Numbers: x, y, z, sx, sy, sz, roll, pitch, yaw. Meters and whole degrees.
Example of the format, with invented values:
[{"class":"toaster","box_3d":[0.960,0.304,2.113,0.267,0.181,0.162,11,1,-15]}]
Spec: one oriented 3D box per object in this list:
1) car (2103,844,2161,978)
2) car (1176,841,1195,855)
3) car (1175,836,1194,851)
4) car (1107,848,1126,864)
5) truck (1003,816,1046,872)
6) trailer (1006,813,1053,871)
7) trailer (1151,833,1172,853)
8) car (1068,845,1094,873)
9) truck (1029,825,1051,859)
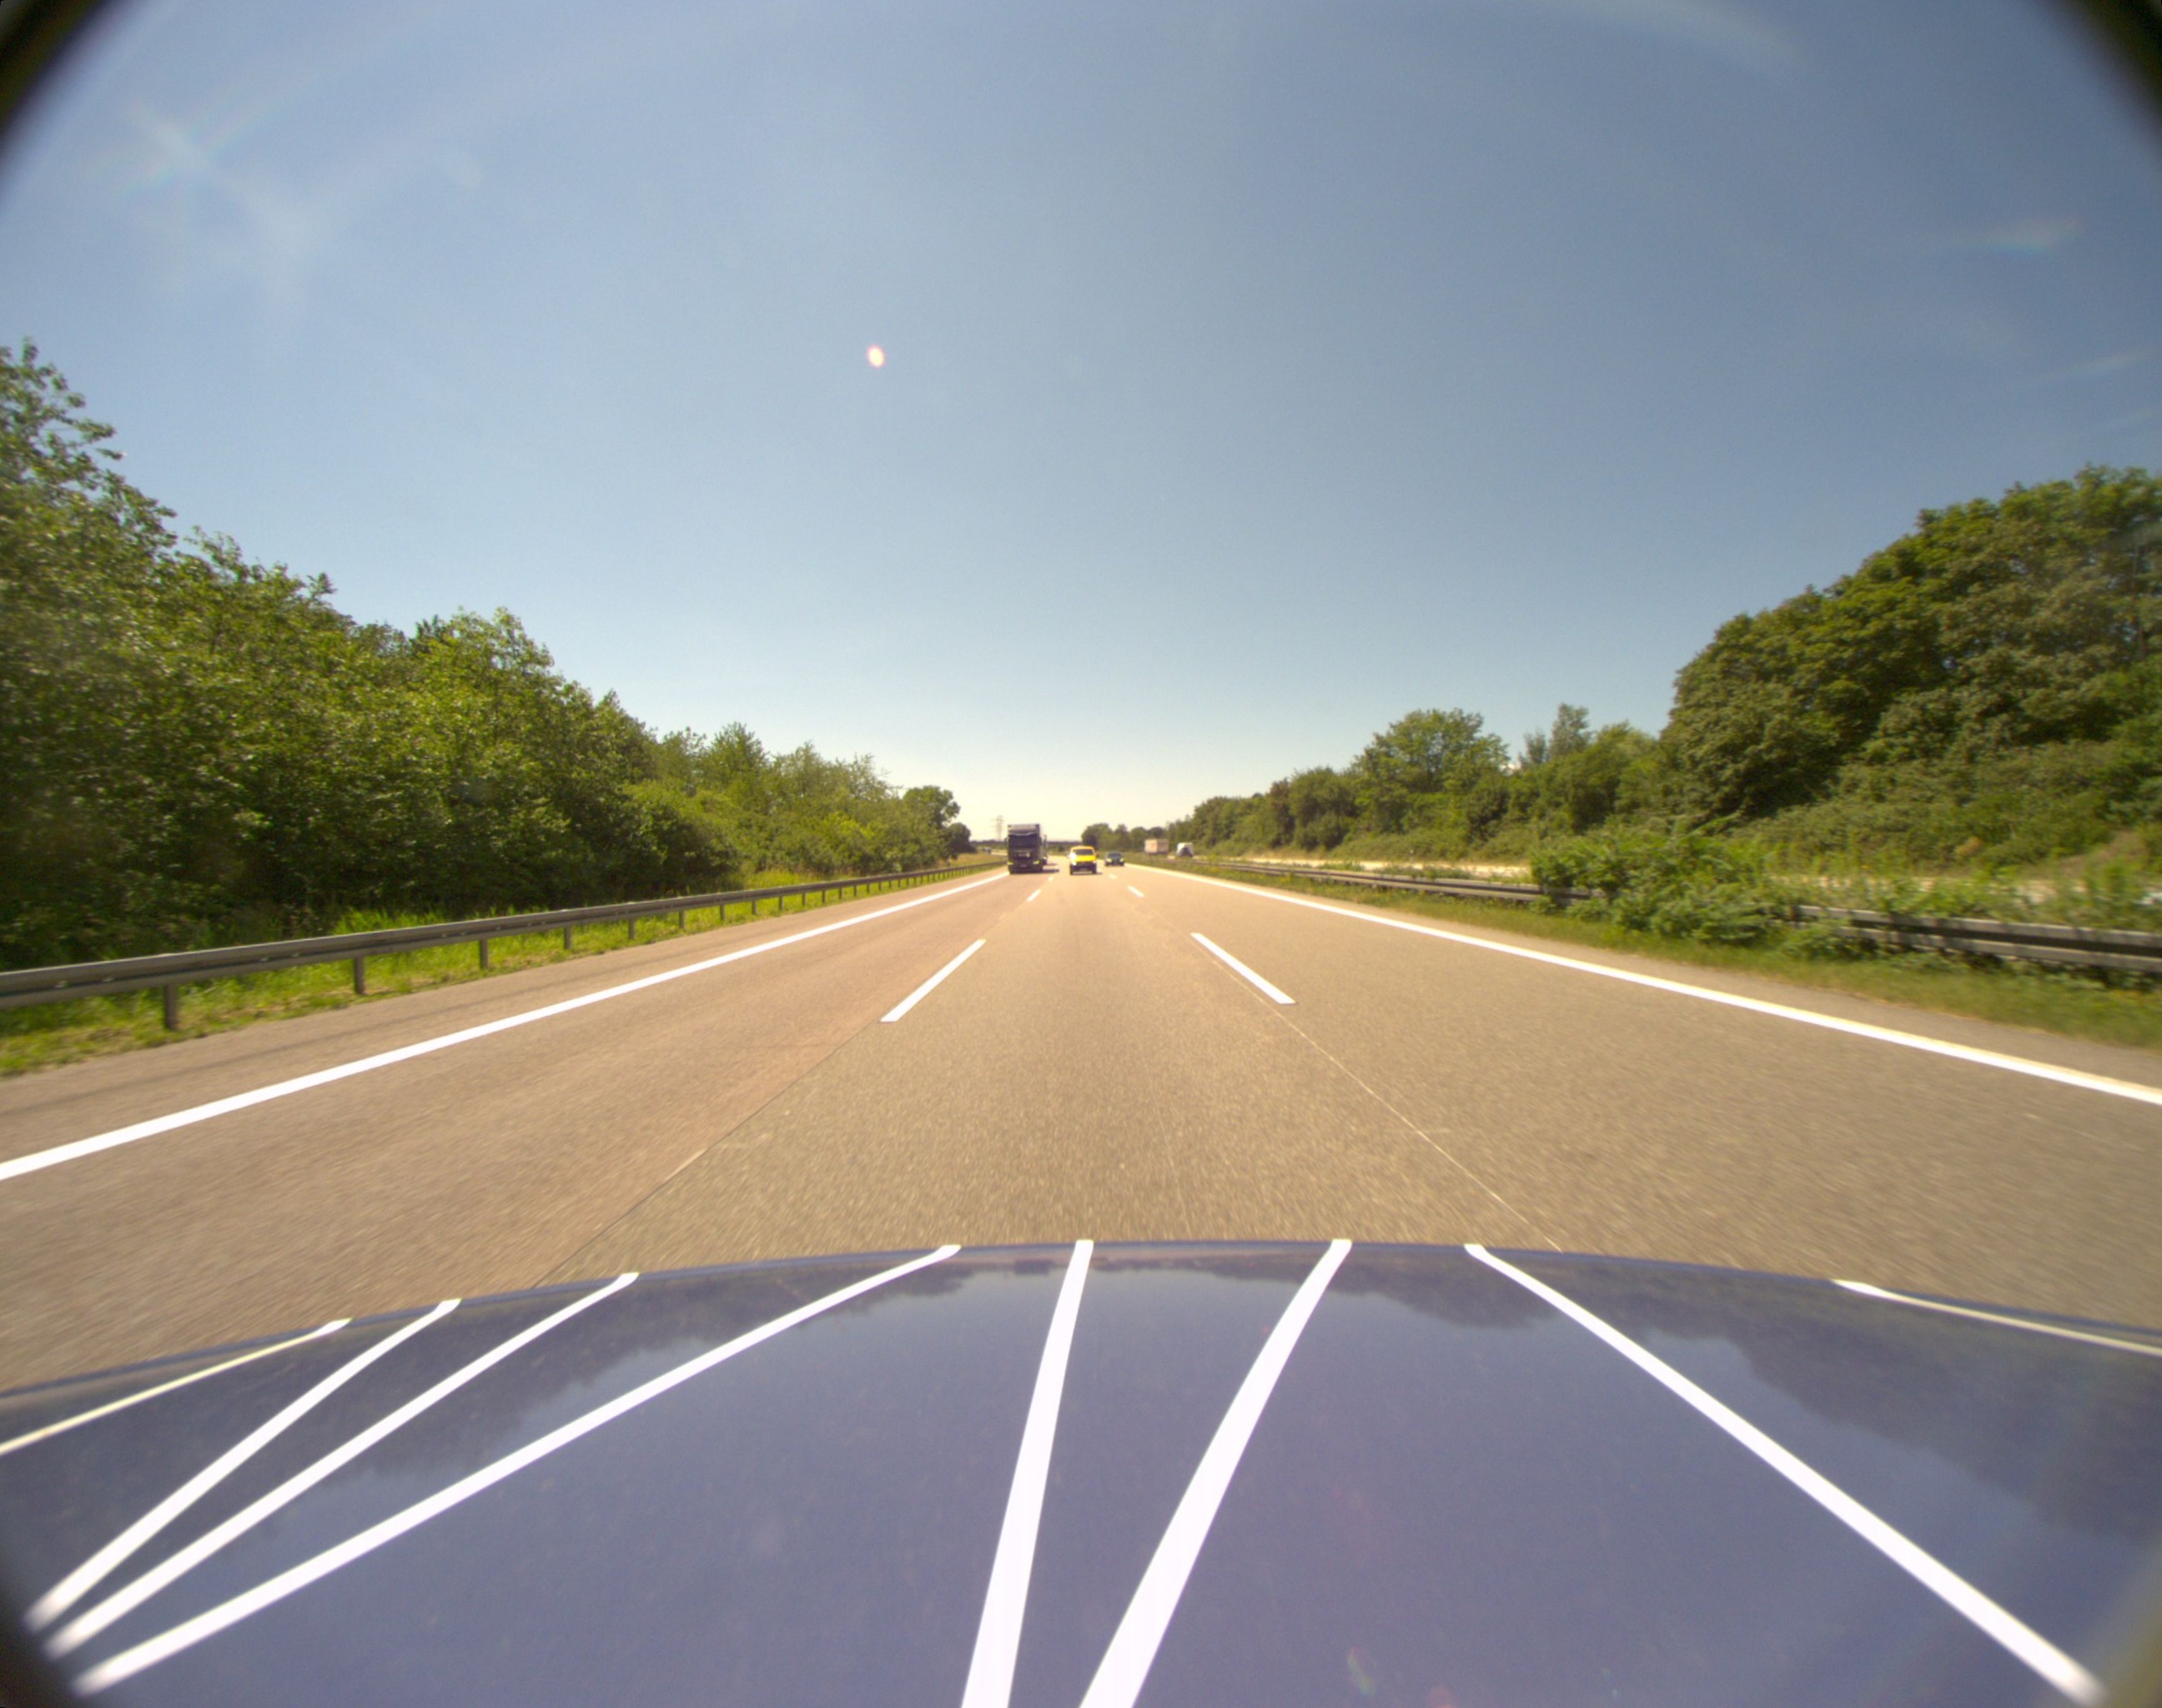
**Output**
[{"class":"car","box_3d":[13.129,0.653,6.924,1.767,1.504,4.393,-2,1,1]},{"class":"car","box_3d":[15.052,-0.819,109.748,1.831,1.895,4.955,-1,1,-1]},{"class":"car","box_3d":[18.102,-1.852,132.928,2.234,2.562,7.390,0,1,-1]},{"class":"car","box_3d":[3.601,0.198,77.489,1.726,1.478,3.999,-1,1,0]},{"class":"truck","box_3d":[-4.506,-0.767,61.188,2.915,4.232,4.974,-2,1,0]},{"class":"trailer","box_3d":[-4.427,-1.043,68.192,2.908,4.630,13.984,-2,1,1]},{"class":"trailer","box_3d":[17.525,-2.348,165.925,2.713,4.160,13.554,-1,1,-2]},{"class":"car","box_3d":[0.013,0.319,53.753,1.776,1.882,3.832,0,1,1]},{"class":"truck","box_3d":[-5.346,-1.460,98.860,2.608,4.231,5.087,-2,0,-3]}]
